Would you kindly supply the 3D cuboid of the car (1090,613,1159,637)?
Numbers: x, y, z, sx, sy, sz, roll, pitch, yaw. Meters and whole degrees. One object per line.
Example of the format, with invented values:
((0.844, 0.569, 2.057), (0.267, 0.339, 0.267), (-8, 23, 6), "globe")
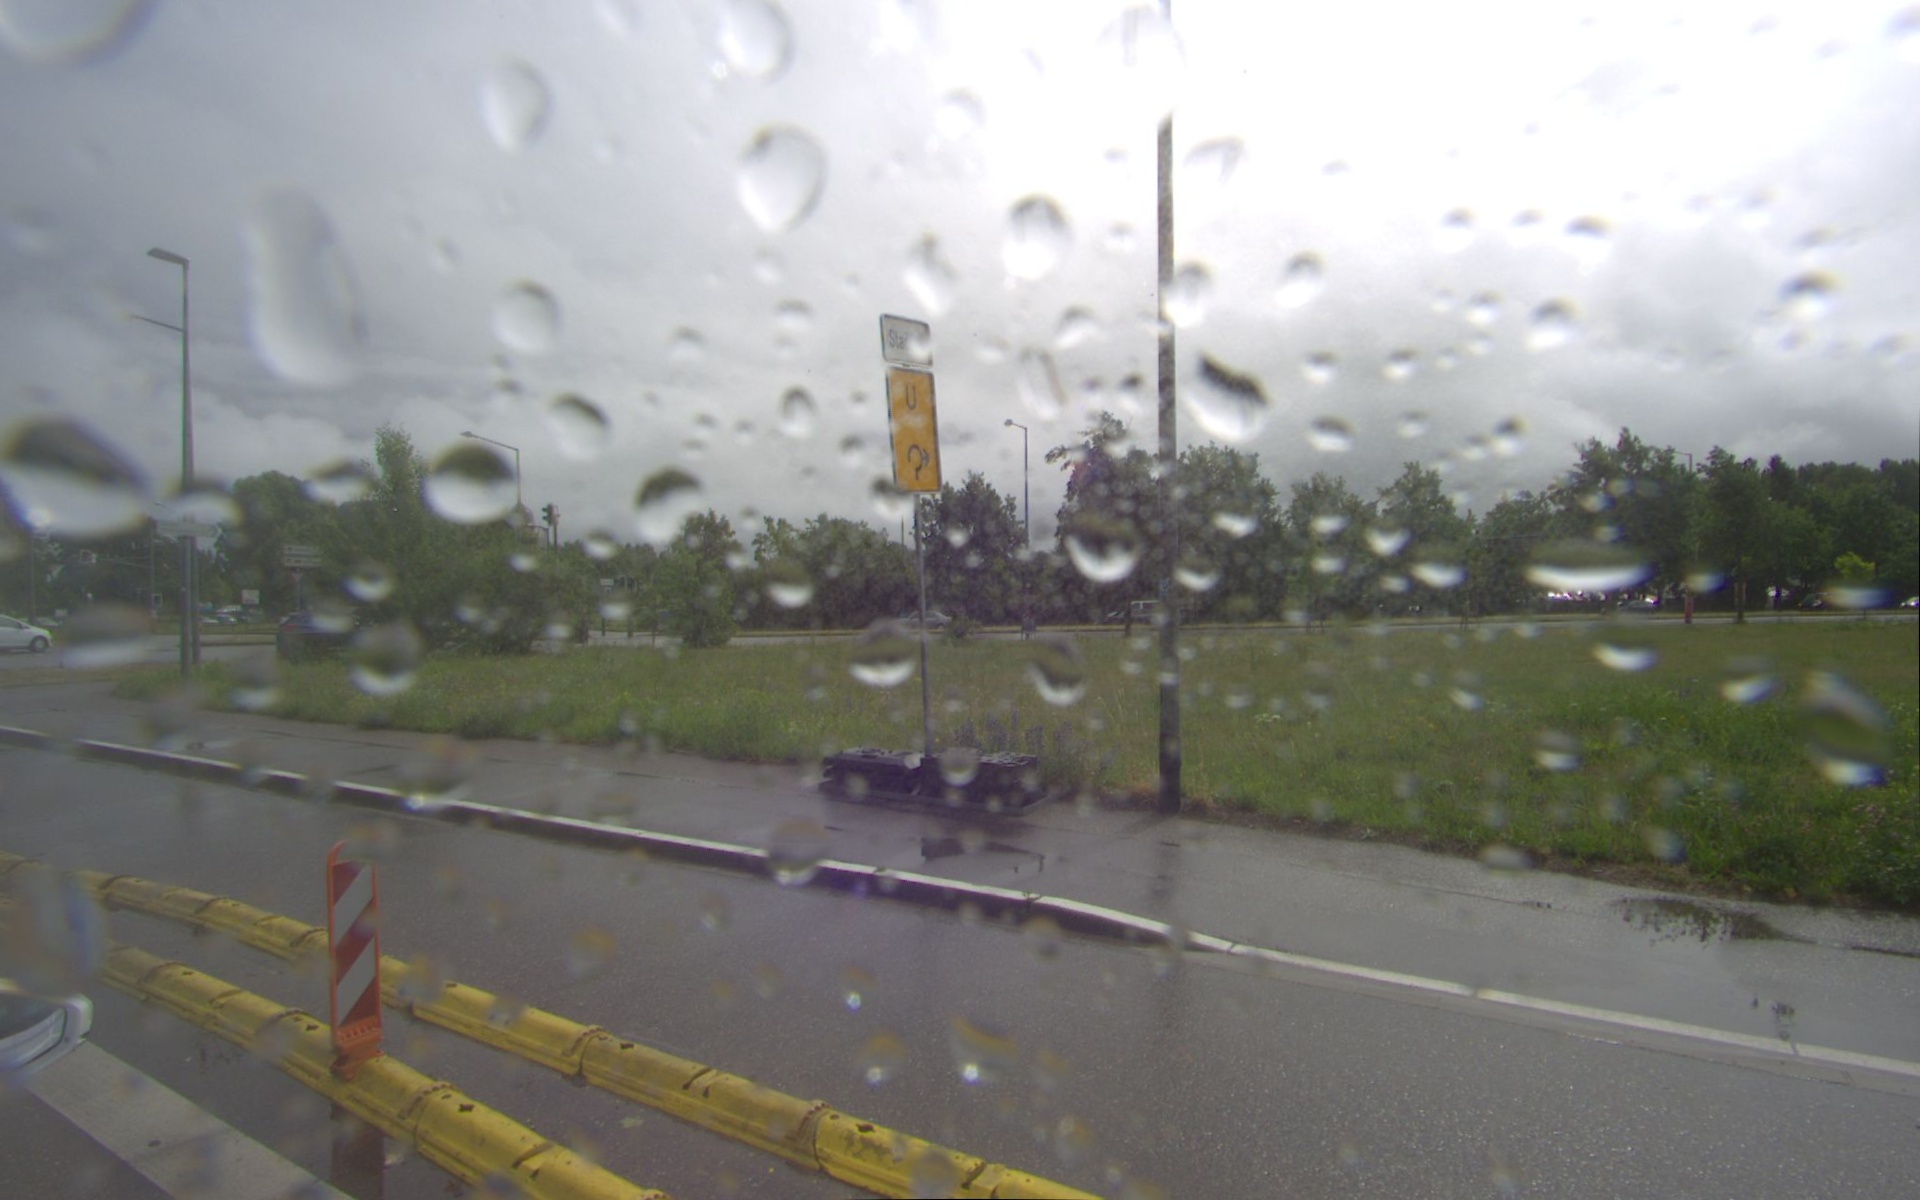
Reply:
((11.162, 1.687, 67.878), (4.227, 1.581, 1.911), (0, 0, -15), "car")

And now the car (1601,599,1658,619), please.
((55.763, 0.760, 83.401), (4.158, 1.579, 1.541), (0, 0, -14), "car")

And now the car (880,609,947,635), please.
((-2.996, 1.398, 64.258), (4.038, 1.581, 1.912), (0, 0, -12), "car")

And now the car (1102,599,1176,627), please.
((12.814, 0.914, 71.806), (4.873, 1.944, 1.996), (0, 0, -17), "car")

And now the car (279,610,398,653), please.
((-24.980, 1.240, 40.325), (3.909, 1.666, 1.657), (0, 0, -39), "car")

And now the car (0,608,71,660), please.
((-35.262, 1.240, 36.441), (1.962, 1.854, 3.998), (0, 0, 9), "car")
